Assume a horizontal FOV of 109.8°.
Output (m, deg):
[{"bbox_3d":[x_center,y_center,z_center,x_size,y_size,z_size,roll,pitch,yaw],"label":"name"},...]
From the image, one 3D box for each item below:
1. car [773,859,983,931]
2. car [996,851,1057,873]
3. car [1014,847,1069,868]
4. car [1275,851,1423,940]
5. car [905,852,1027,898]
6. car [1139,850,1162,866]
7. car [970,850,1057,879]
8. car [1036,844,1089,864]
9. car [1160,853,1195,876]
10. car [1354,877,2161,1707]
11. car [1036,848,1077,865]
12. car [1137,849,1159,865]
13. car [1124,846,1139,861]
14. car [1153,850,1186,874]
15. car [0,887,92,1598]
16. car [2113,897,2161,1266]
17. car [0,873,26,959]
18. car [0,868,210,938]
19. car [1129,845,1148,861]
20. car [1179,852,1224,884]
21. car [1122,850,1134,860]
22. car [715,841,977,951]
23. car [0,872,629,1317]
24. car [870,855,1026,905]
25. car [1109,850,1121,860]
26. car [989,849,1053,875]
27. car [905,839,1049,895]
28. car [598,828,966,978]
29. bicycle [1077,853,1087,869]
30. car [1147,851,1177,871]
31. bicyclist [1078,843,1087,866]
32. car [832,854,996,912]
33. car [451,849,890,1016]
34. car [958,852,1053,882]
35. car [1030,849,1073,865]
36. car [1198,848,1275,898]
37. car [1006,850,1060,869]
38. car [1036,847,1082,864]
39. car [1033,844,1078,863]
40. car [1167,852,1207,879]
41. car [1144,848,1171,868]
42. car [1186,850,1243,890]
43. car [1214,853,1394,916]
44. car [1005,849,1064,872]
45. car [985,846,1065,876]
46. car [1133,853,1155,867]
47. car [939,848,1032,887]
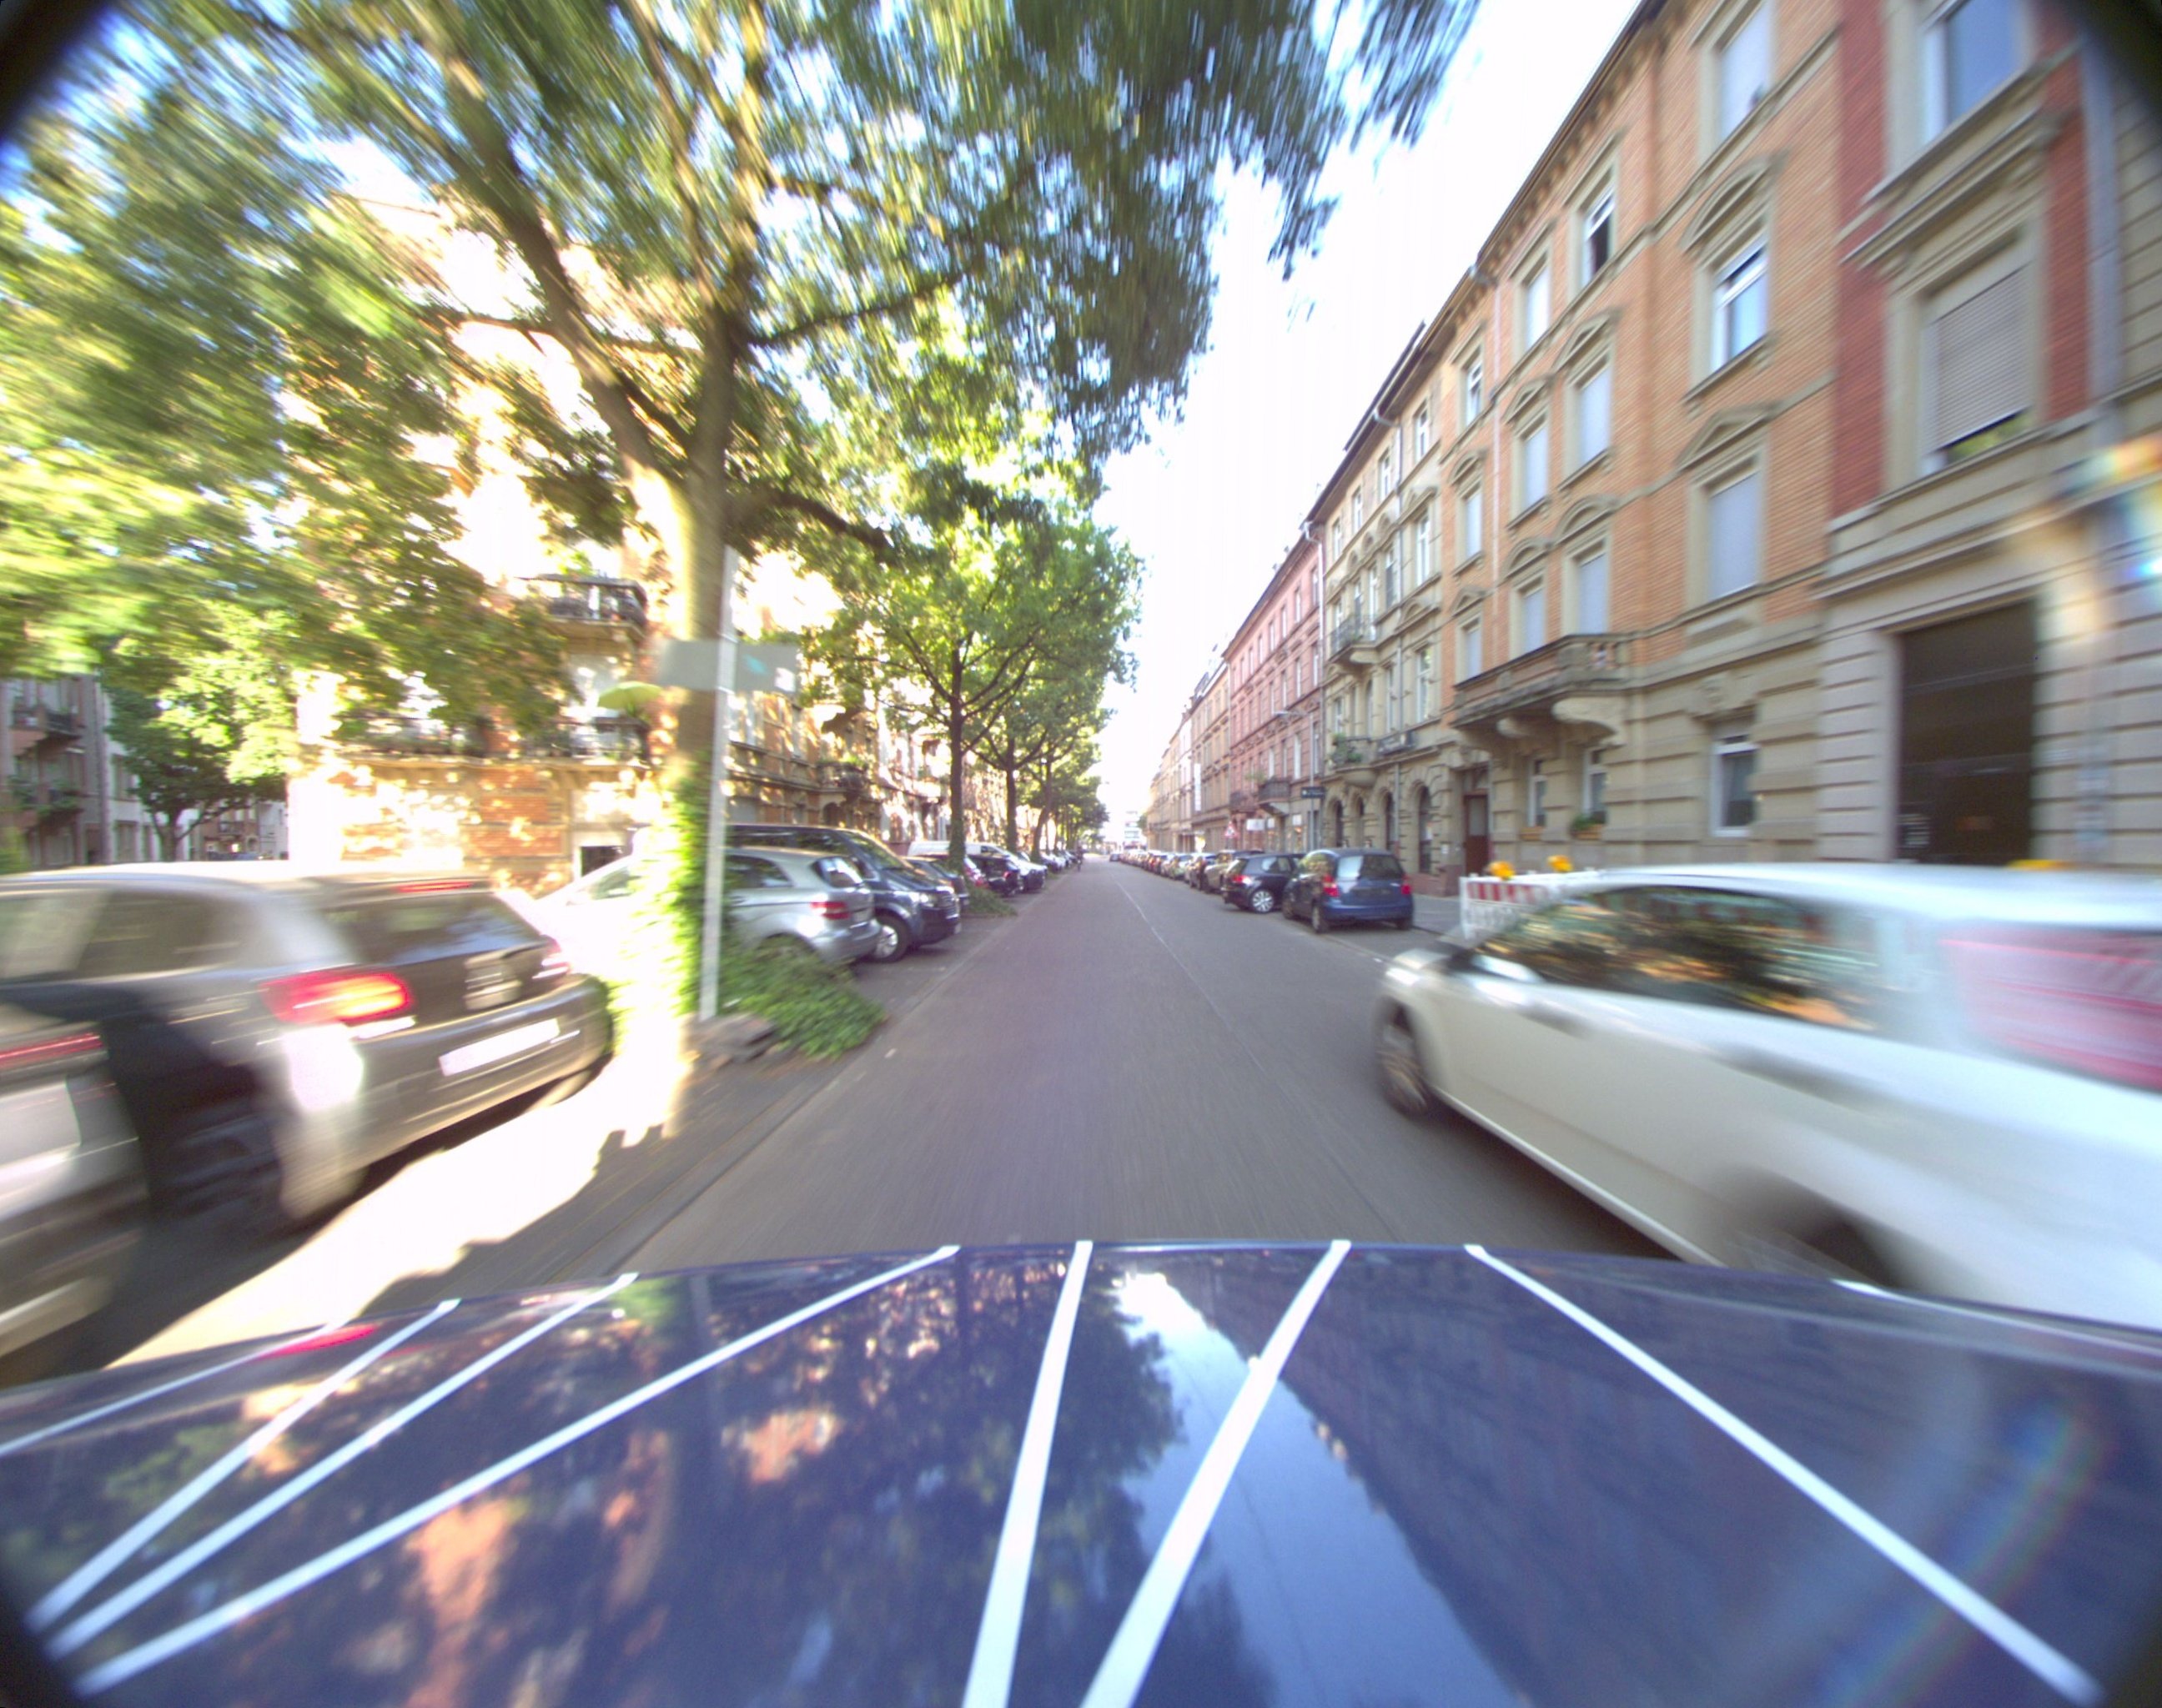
[{"bbox_3d":[-4.319,0.839,16.557,3.995,1.439,1.891,0,1,6],"label":"car"},{"bbox_3d":[-3.638,0.510,51.039,3.998,1.454,1.782,0,1,-2],"label":"car"},{"bbox_3d":[-3.271,0.315,63.475,4.487,1.647,1.891,-1,2,0],"label":"car"},{"bbox_3d":[5.274,0.741,15.502,1.745,1.558,3.895,0,1,2],"label":"car"},{"bbox_3d":[-3.926,0.709,26.276,3.999,1.466,1.780,1,1,-6],"label":"car"},{"bbox_3d":[6.273,0.333,68.860,1.867,1.464,4.489,0,0,2],"label":"car"},{"bbox_3d":[-3.680,0.566,42.033,4.563,1.521,2.000,0,1,3],"label":"car"},{"bbox_3d":[-1.586,0.027,66.164,4.486,1.647,1.891,-1,2,3],"label":"car"},{"bbox_3d":[5.874,0.619,46.736,1.709,1.315,4.101,0,0,1],"label":"car"},{"bbox_3d":[2.607,0.923,2.900,1.753,1.500,4.000,0,1,1],"label":"car"},{"bbox_3d":[-2.590,0.241,80.514,4.134,1.778,1.945,0,1,3],"label":"car"},{"bbox_3d":[6.650,0.285,75.665,1.761,1.464,4.088,0,0,0],"label":"car"},{"bbox_3d":[7.194,-0.121,108.972,1.947,2.045,4.745,-1,0,1],"label":"car"},{"bbox_3d":[5.962,0.497,51.609,1.825,1.468,4.423,-2,0,1],"label":"car"},{"bbox_3d":[-4.366,0.894,1.004,3.850,1.586,1.741,0,1,1],"label":"car"},{"bbox_3d":[5.103,0.912,1.112,1.708,1.446,4.019,0,1,0],"label":"car"},{"bbox_3d":[-18.059,0.934,10.526,4.066,1.269,1.862,0,1,-3],"label":"car"},{"bbox_3d":[-22.000,1.017,16.317,4.407,1.364,1.851,0,1,0],"label":"car"},{"bbox_3d":[6.890,-0.104,91.676,1.847,1.823,4.606,-1,0,0],"label":"car"},{"bbox_3d":[5.774,0.635,36.672,1.586,1.464,4.000,0,1,1],"label":"car"},{"bbox_3d":[7.058,0.086,114.508,1.641,1.482,3.825,-1,0,1],"label":"car"},{"bbox_3d":[-4.196,0.710,14.145,4.280,1.874,1.939,0,1,-2],"label":"car"},{"bbox_3d":[-4.644,0.884,3.621,3.850,1.507,1.848,0,1,1],"label":"car"},{"bbox_3d":[-3.976,0.757,23.276,4.380,1.447,1.934,0,1,2],"label":"car"},{"bbox_3d":[5.809,0.185,129.705,1.868,1.620,3.825,-1,0,3],"label":"car"},{"bbox_3d":[-3.790,0.498,48.445,3.998,1.581,1.782,0,1,-2],"label":"car"},{"bbox_3d":[-3.845,0.453,28.814,5.104,1.930,2.157,0,4,1],"label":"car"},{"bbox_3d":[-4.155,0.649,11.231,4.627,2.002,1.999,0,1,-1],"label":"car"},{"bbox_3d":[0.099,0.579,61.845,0.712,1.252,1.887,0,1,1],"label":"bicycle"},{"bbox_3d":[6.149,0.478,57.946,1.825,1.417,4.313,-2,0,1],"label":"car"},{"bbox_3d":[0.117,0.036,61.884,0.712,1.865,1.120,0,1,1],"label":"bicyclist"},{"bbox_3d":[-4.511,0.767,20.996,4.091,1.489,1.843,0,1,2],"label":"car"},{"bbox_3d":[-4.410,0.796,8.659,3.997,1.682,1.800,0,1,-1],"label":"car"},{"bbox_3d":[-3.875,0.651,39.470,4.670,1.494,1.932,0,1,1],"label":"car"},{"bbox_3d":[-2.963,0.262,76.065,4.155,1.446,1.936,1,1,0],"label":"car"},{"bbox_3d":[5.424,0.610,27.020,1.652,1.565,4.048,-3,1,-3],"label":"car"},{"bbox_3d":[-3.793,0.447,60.804,4.110,1.461,1.801,-1,0,2],"label":"car"},{"bbox_3d":[-2.400,0.144,83.216,4.933,1.623,2.078,2,1,-2],"label":"car"},{"bbox_3d":[-2.877,-0.040,86.447,4.933,1.890,2.175,2,1,-2],"label":"car"},{"bbox_3d":[5.820,0.594,42.056,1.709,1.431,3.959,0,1,1],"label":"car"},{"bbox_3d":[6.236,0.300,62.520,1.825,1.591,4.313,-2,0,1],"label":"car"},{"bbox_3d":[5.498,0.623,31.704,1.651,1.464,4.000,-3,0,1],"label":"car"},{"bbox_3d":[5.587,0.733,19.358,3.999,1.521,1.825,0,1,-5],"label":"car"},{"bbox_3d":[-3.238,0.449,53.741,3.997,1.380,1.677,2,1,1],"label":"car"},{"bbox_3d":[-3.329,0.407,45.756,4.657,1.693,1.881,1,1,-2],"label":"car"},{"bbox_3d":[6.622,0.597,80.149,1.891,1.436,4.542,-1,0,0],"label":"car"},{"bbox_3d":[-4.155,0.579,33.581,3.894,1.639,1.724,0,1,-1],"label":"car"}]
